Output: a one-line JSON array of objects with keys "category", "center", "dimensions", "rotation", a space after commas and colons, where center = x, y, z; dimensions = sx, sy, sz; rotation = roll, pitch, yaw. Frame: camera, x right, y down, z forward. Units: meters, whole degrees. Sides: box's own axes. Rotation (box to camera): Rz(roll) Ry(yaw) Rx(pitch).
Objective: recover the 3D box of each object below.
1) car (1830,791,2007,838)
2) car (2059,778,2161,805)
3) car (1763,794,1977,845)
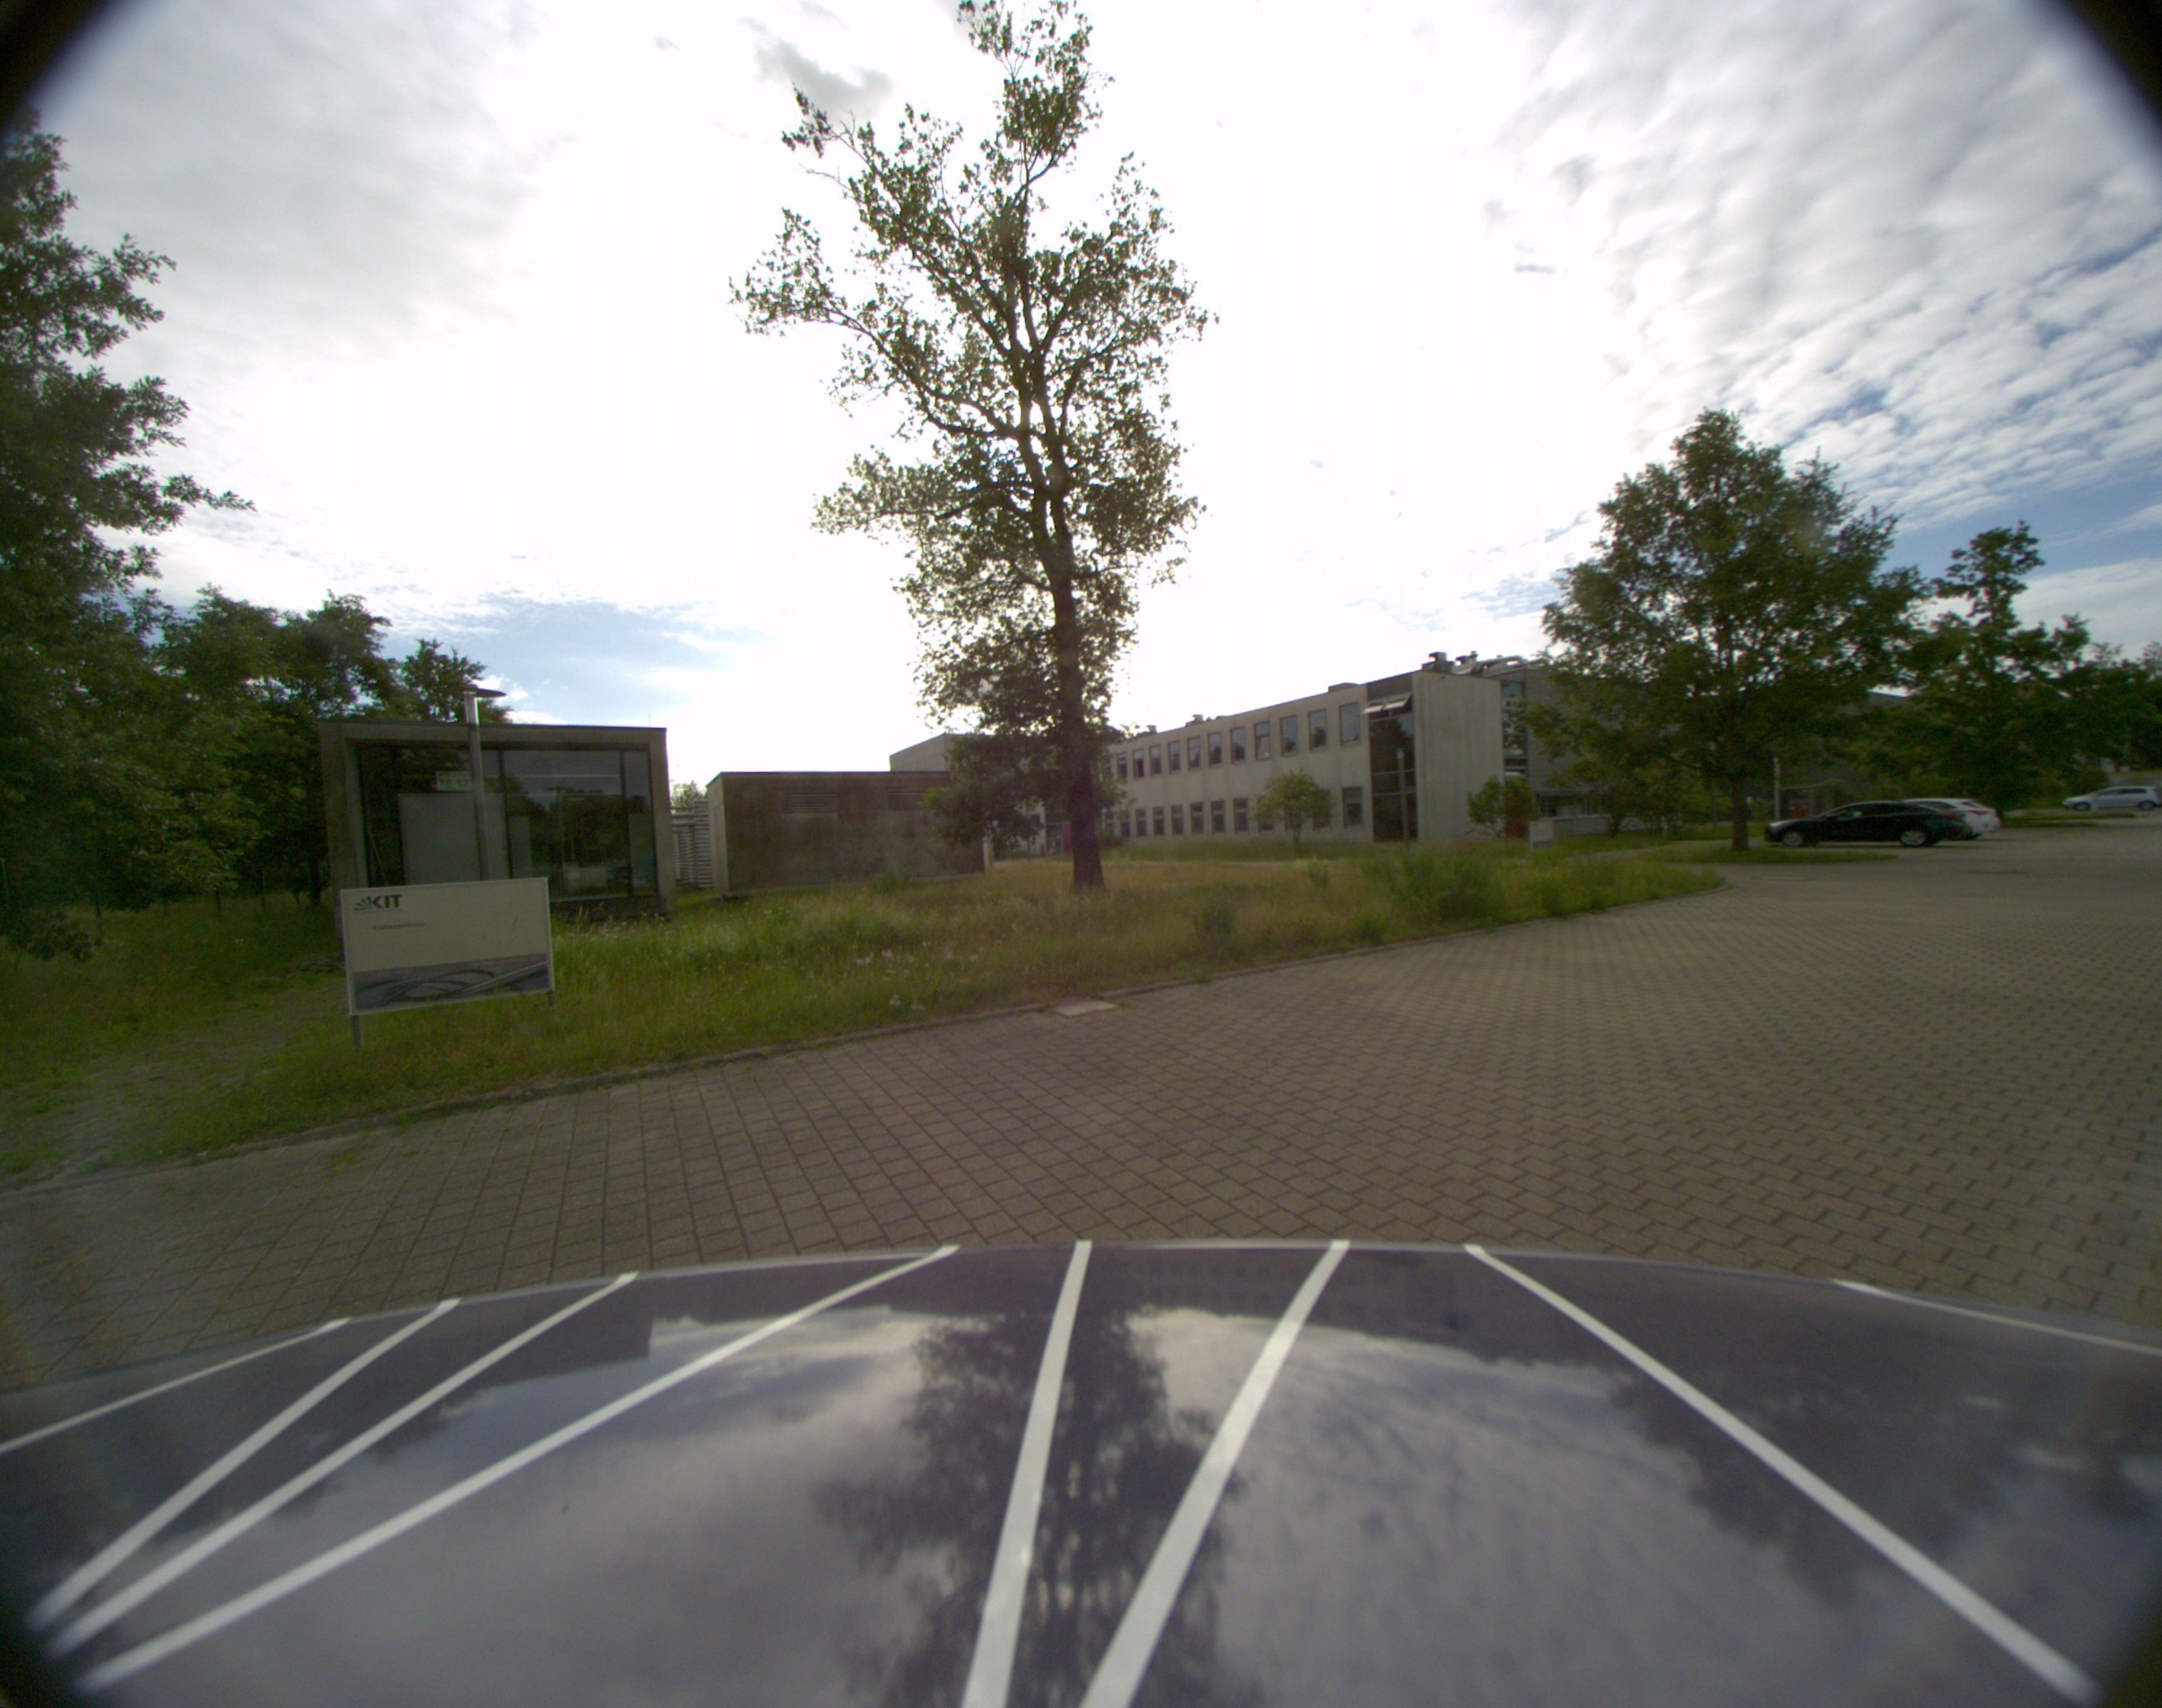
[{"category": "car", "center": [29.895, -1.377, 27.246], "dimensions": [1.885, 1.458, 3.978], "rotation": [-4, 3, -31]}, {"category": "car", "center": [69.392, -4.166, 51.185], "dimensions": [1.942, 1.616, 4.123], "rotation": [-5, 4, -33]}, {"category": "car", "center": [25.266, -1.092, 24.531], "dimensions": [1.947, 1.439, 4.466], "rotation": [-4, 3, -31]}]
